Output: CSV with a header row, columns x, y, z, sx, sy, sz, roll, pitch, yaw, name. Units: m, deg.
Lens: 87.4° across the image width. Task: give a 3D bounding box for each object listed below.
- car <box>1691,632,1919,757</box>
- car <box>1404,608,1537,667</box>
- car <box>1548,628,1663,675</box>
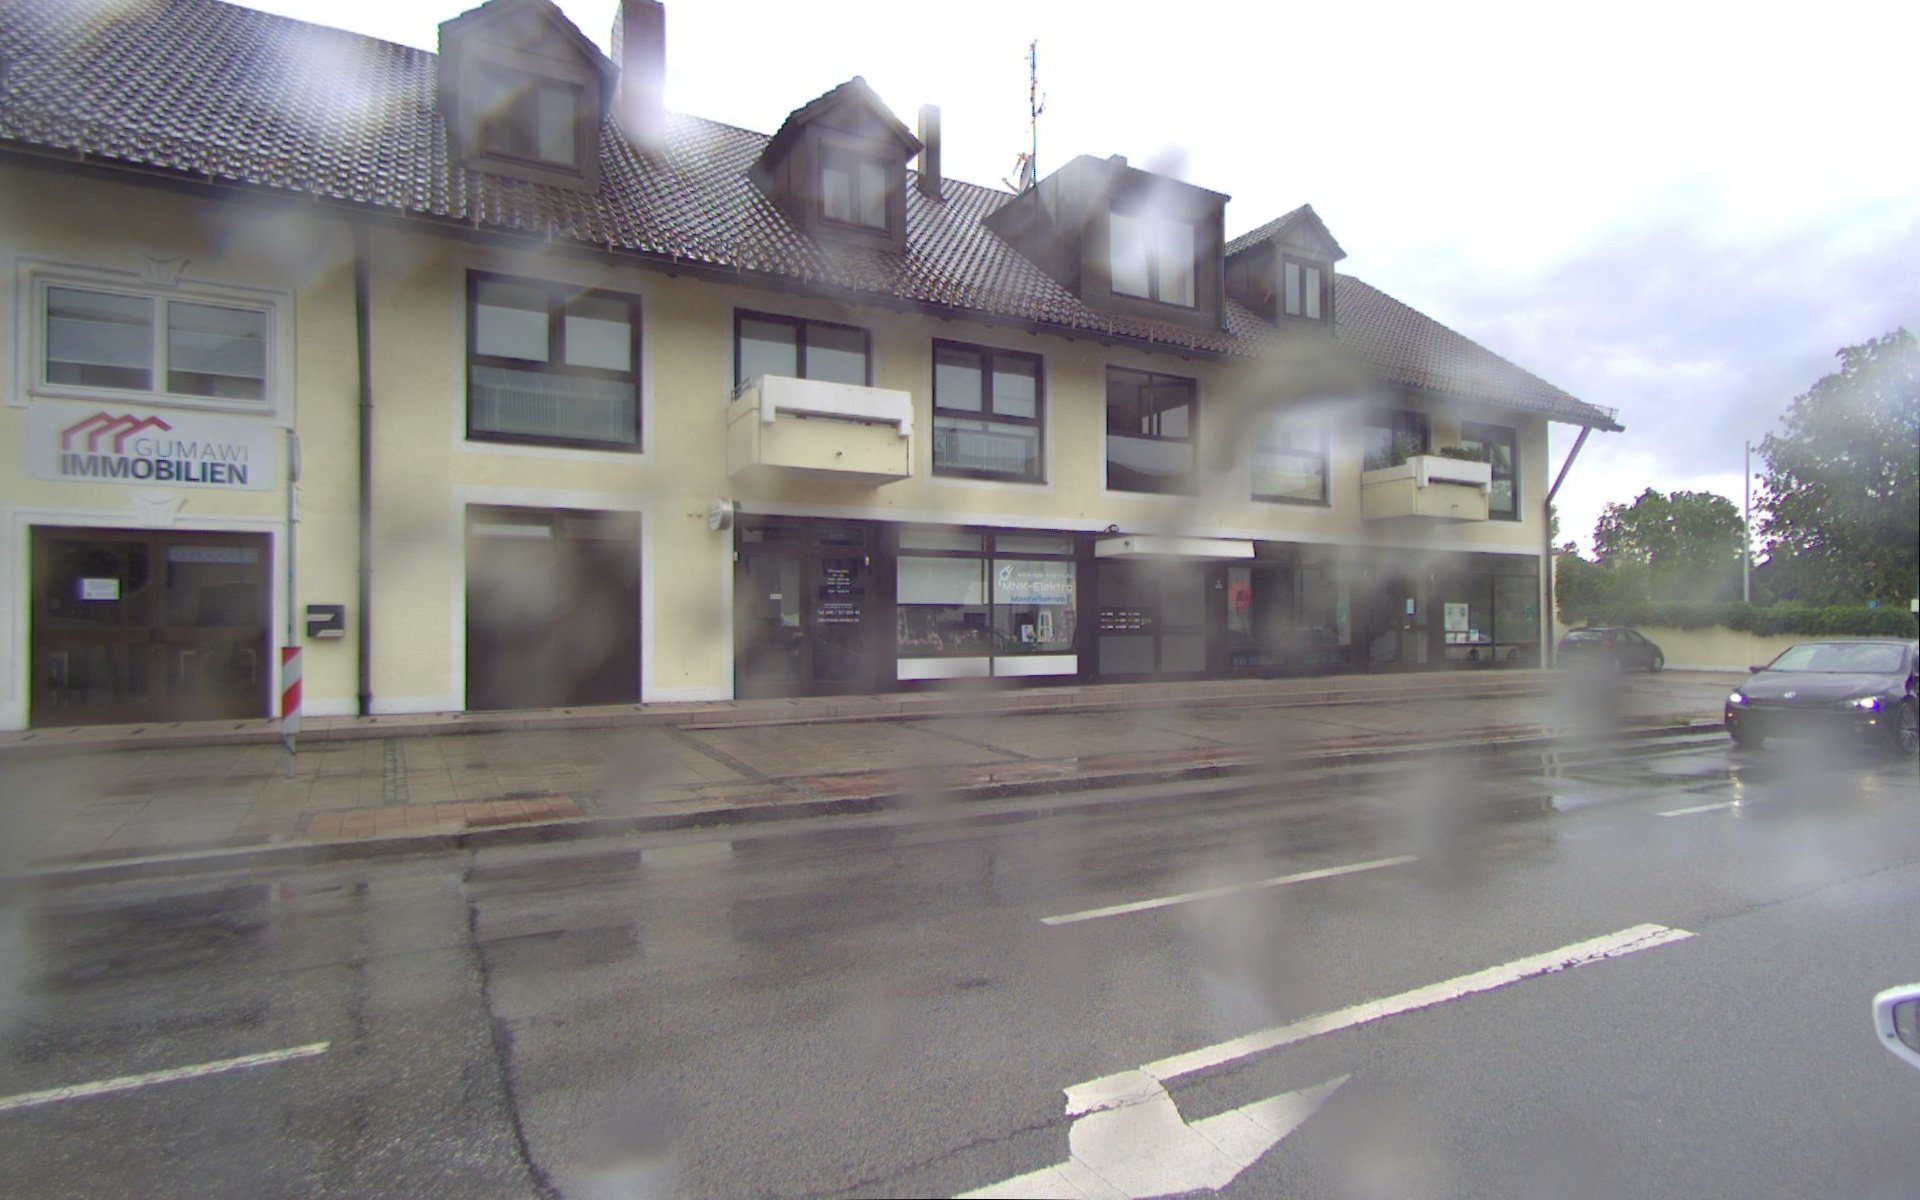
x,y,z,sx,sy,sz,roll,pitch,yaw,name
11.763,1.149,13.309,3.838,1.426,1.987,1,-3,-30,car
17.978,1.314,35.330,4.682,1.944,1.955,1,-3,-31,car
20.134,1.584,31.320,3.467,1.398,1.599,1,-3,-30,car
